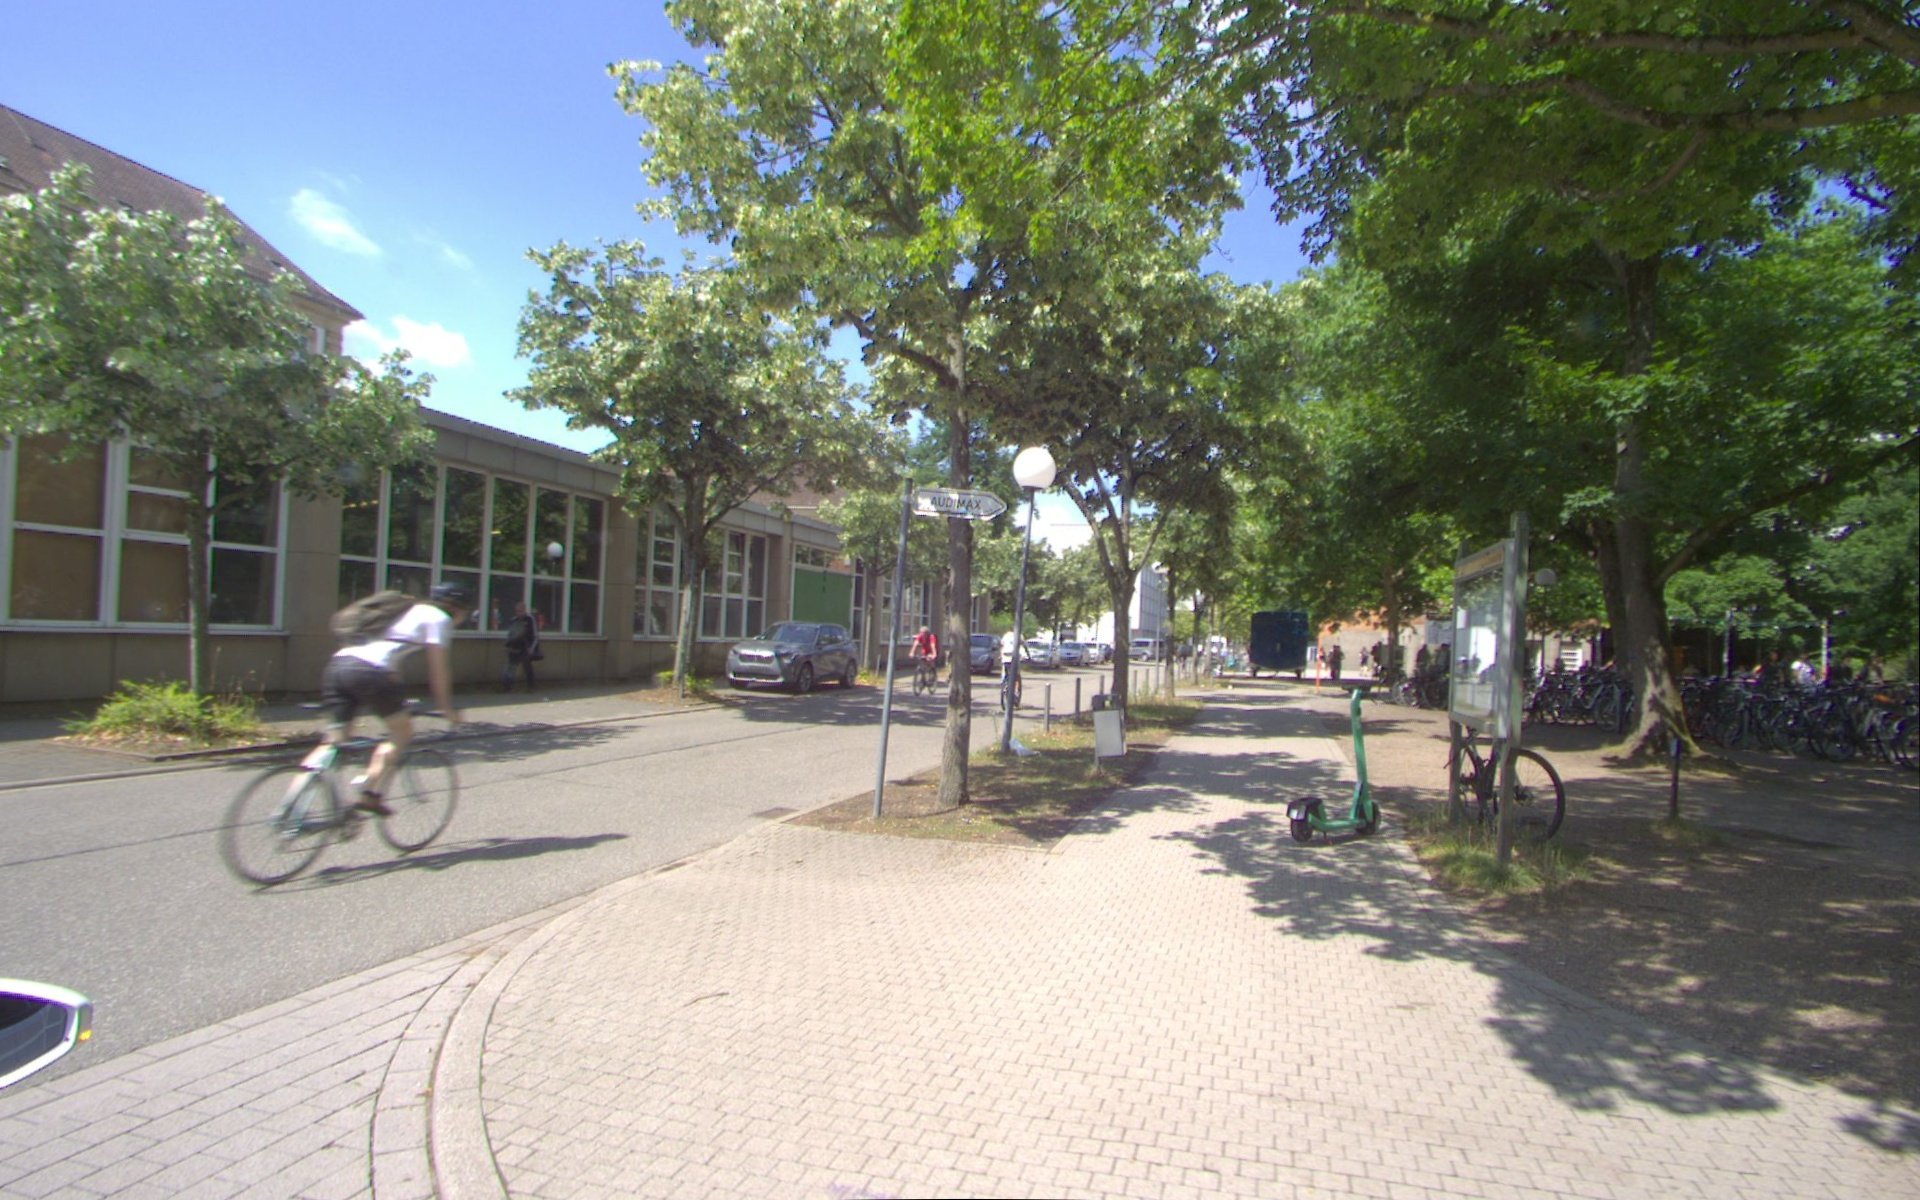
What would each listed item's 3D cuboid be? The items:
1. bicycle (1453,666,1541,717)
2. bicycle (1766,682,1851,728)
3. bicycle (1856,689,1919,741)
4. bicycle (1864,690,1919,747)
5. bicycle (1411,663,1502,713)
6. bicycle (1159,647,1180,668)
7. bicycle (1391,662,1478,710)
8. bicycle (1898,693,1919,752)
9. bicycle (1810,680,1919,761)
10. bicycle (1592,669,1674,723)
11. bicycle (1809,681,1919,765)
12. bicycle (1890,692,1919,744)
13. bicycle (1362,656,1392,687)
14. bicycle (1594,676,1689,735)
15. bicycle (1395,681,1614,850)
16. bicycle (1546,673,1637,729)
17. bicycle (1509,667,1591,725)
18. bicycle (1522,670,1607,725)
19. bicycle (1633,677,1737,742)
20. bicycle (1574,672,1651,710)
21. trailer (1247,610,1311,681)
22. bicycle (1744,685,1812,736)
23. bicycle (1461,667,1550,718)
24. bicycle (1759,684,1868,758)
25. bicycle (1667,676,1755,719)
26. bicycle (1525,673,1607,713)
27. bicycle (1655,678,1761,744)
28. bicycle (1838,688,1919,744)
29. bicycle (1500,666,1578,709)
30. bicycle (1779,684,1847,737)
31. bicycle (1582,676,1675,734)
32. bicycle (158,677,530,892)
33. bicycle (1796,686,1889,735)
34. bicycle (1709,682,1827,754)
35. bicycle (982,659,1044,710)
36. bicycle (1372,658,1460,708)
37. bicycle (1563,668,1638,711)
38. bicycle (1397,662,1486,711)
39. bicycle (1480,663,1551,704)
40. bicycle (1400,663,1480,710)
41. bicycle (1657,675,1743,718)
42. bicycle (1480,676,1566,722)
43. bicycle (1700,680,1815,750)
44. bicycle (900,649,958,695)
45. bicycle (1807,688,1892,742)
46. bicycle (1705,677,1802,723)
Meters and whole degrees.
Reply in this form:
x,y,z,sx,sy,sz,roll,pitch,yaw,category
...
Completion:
x,y,z,sx,sy,sz,roll,pitch,yaw,category
12.270,2.091,22.871,1.877,1.073,0.325,2,-1,-5,bicycle
19.052,2.357,22.483,1.870,0.991,0.535,2,-2,-17,bicycle
19.211,2.339,20.292,1.867,0.991,0.442,2,-2,-6,bicycle
17.516,2.172,18.521,1.874,0.991,0.477,3,-2,-24,bicycle
11.845,2.099,23.911,1.912,1.096,0.405,2,-1,6,bicycle
10.958,3.018,52.364,0.796,1.014,2.122,3,-2,18,bicycle
11.855,2.144,25.053,1.912,1.096,0.405,2,-1,6,bicycle
17.384,2.151,17.500,1.869,0.991,0.478,2,-2,-13,bicycle
13.867,1.844,15.323,1.762,1.185,0.402,3,-1,-17,bicycle
15.047,2.130,22.453,0.469,1.096,1.905,2,-2,-3,bicycle
13.375,1.814,14.754,1.762,1.185,0.402,3,-1,-17,bicycle
19.296,2.336,19.764,1.850,0.991,0.306,2,-2,-10,bicycle
18.261,3.124,43.904,0.521,1.268,1.738,1,-2,-3,bicycle
12.803,1.987,18.822,1.761,1.041,0.381,3,-1,-14,bicycle
4.120,1.208,7.731,0.617,1.096,1.690,4,-4,-5,bicycle
12.681,2.026,20.097,1.765,1.041,0.440,3,-1,-15,bicycle
12.545,2.039,21.294,1.709,1.170,0.493,3,-1,-19,bicycle
12.390,2.005,20.509,1.709,1.066,0.493,3,-1,-19,bicycle
12.937,1.948,17.873,1.760,1.083,0.426,3,-1,-13,bicycle
18.205,2.532,27.948,1.867,0.991,0.479,2,-2,-2,bicycle
15.019,2.160,47.469,2.651,3.090,6.253,1,-2,16,trailer
16.755,2.246,20.490,1.878,0.991,0.476,3,-2,-31,bicycle
12.288,2.079,22.561,1.877,1.073,0.325,2,-1,-5,bicycle
13.342,1.892,15.645,1.762,1.083,0.425,3,-1,-18,bicycle
18.313,2.374,24.426,1.867,0.991,0.479,2,-2,-5,bicycle
16.224,2.474,26.811,1.867,0.991,0.613,2,-2,-4,bicycle
13.028,1.932,17.443,1.760,1.083,0.426,3,-1,-13,bicycle
17.360,2.181,18.890,1.874,0.991,0.477,3,-2,-24,bicycle
16.193,2.452,28.027,1.867,1.132,0.613,2,-2,-4,bicycle
17.039,2.189,19.992,1.878,0.991,0.476,3,-2,-31,bicycle
12.811,2.015,19.193,1.761,1.041,0.381,3,-1,-15,bicycle
-3.678,1.038,6.218,0.696,1.006,1.908,4,-1,19,bicycle
18.655,2.333,21.169,1.869,0.991,0.478,2,-2,-13,bicycle
13.082,1.905,16.221,1.760,1.083,0.426,2,-1,-11,bicycle
1.212,1.874,22.512,0.796,1.015,2.121,4,-1,18,bicycle
12.032,2.185,26.470,1.982,1.182,0.652,2,-1,6,bicycle
18.440,2.572,28.834,1.867,1.158,0.479,2,-2,-2,bicycle
11.822,2.109,24.623,1.912,1.096,0.405,2,-1,6,bicycle
16.187,2.430,29.191,1.774,1.132,0.613,2,-2,-4,bicycle
12.160,2.187,25.399,1.739,1.096,0.438,2,-1,6,bicycle
18.322,2.392,24.804,1.867,0.991,0.479,2,-2,-5,bicycle
12.213,2.142,21.732,1.707,0.921,0.494,3,-1,-12,bicycle
13.279,1.921,16.679,1.760,1.083,0.426,2,-1,-11,bicycle
-0.775,1.855,25.636,0.804,1.053,1.931,2,-5,19,bicycle
17.261,2.218,19.421,1.873,0.991,0.477,3,-2,-23,bicycle
18.586,2.340,23.464,1.867,0.991,0.613,2,-2,-4,bicycle
